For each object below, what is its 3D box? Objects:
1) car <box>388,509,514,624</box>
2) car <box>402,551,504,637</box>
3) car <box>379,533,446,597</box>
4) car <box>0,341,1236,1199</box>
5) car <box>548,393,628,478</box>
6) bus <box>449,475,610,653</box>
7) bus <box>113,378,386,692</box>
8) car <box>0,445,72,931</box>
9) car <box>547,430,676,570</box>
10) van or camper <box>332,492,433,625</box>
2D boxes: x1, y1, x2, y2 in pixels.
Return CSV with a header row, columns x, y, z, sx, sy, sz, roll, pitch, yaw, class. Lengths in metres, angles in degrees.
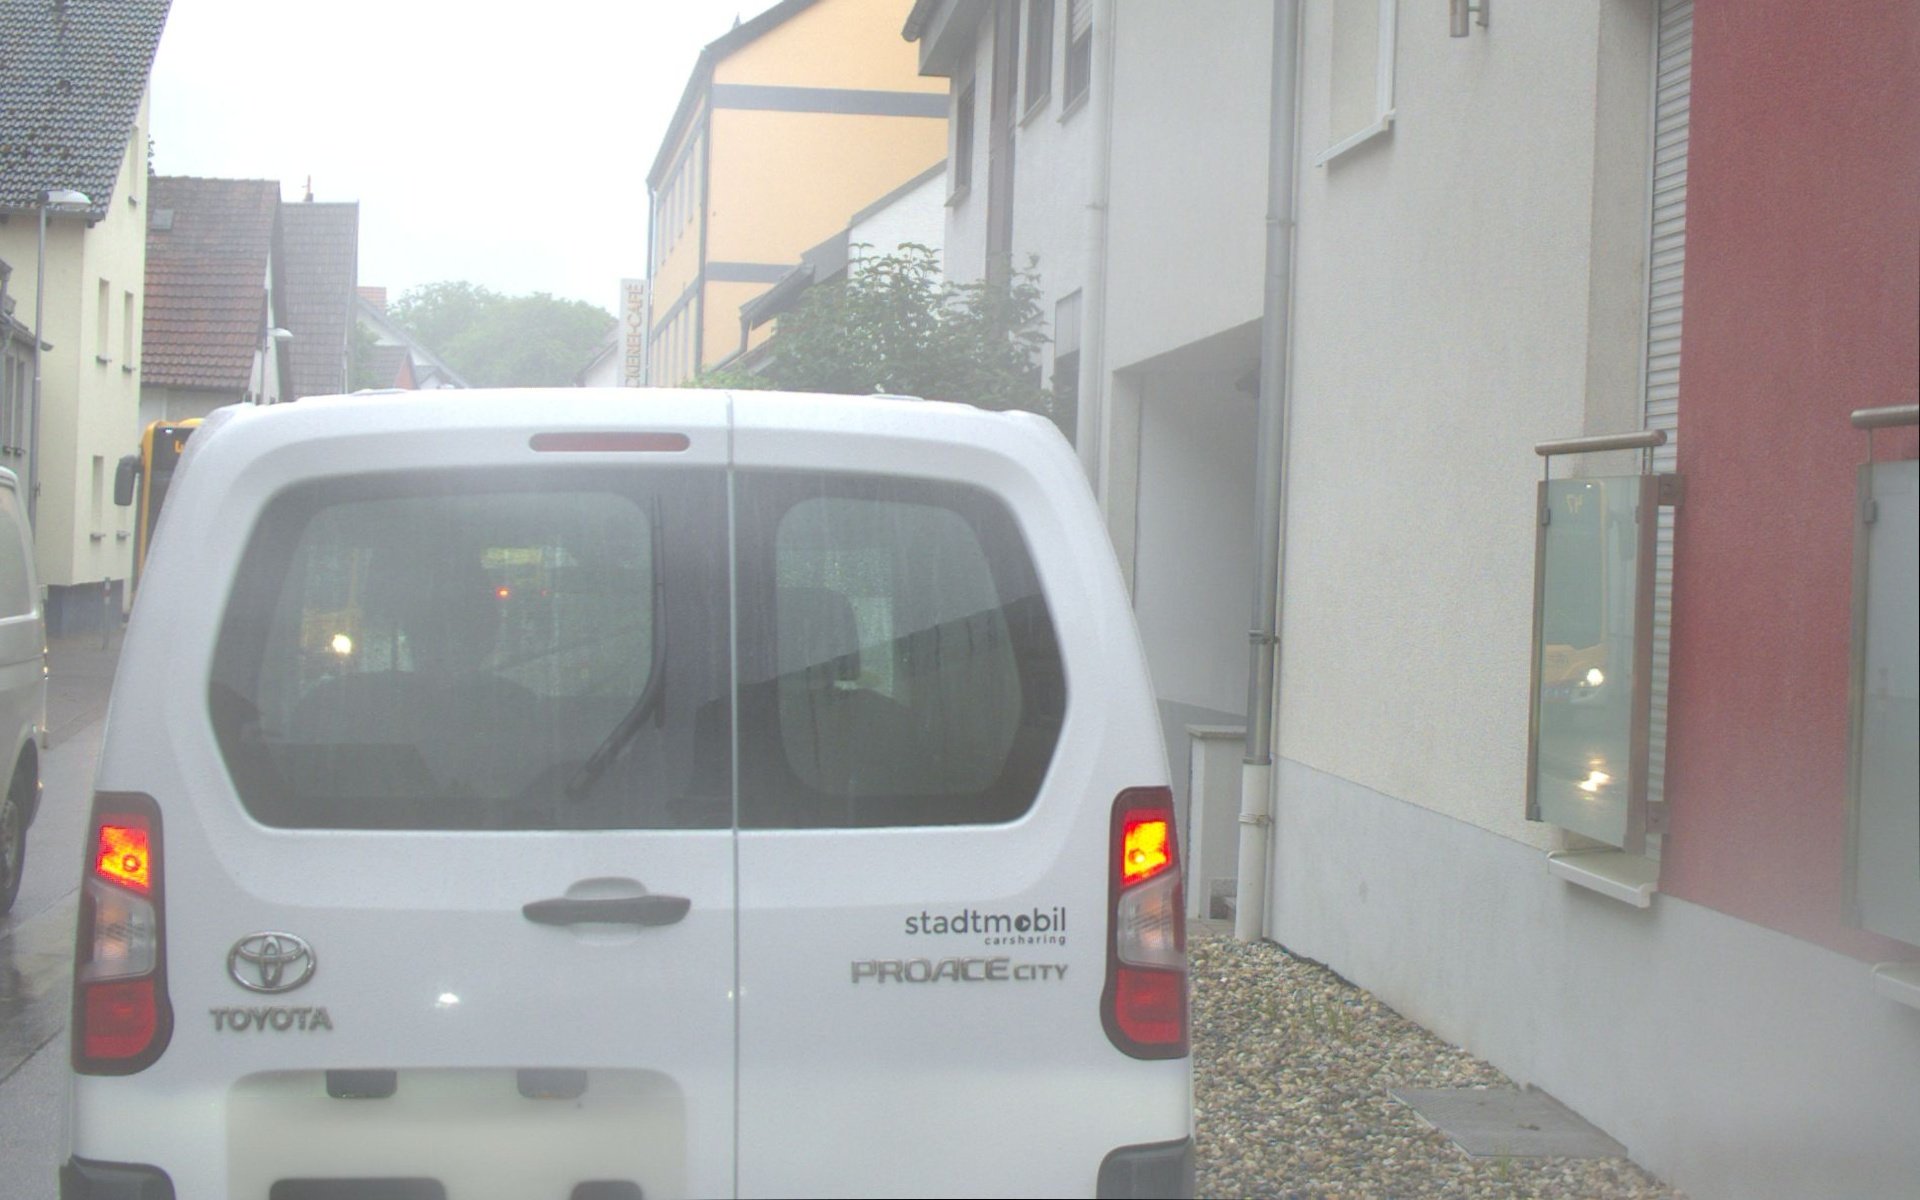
x,y,z,sx,sy,sz,roll,pitch,yaw,class
-7.123,-0.460,48.302,1.561,1.475,3.585,3,0,-7,car
-8.729,-0.107,59.378,1.561,1.367,3.585,3,0,-6,car
-15.570,-0.983,97.855,1.578,1.718,3.551,3,0,-6,car
-0.758,0.543,6.921,1.794,1.812,4.102,0,0,-7,car
-10.048,-4.422,92.974,1.993,2.007,4.001,3,0,-6,car
-8.630,-0.686,68.911,2.793,3.169,8.179,4,0,-7,bus
-8.527,-0.735,41.779,2.792,3.318,8.180,3,0,-10,bus
-4.689,0.320,12.700,1.892,1.960,4.724,3,0,-5,car
-5.531,-1.539,54.286,1.826,2.007,3.695,3,0,-7,car
-13.547,-0.946,80.873,1.835,2.915,5.364,3,0,-6,van or camper
